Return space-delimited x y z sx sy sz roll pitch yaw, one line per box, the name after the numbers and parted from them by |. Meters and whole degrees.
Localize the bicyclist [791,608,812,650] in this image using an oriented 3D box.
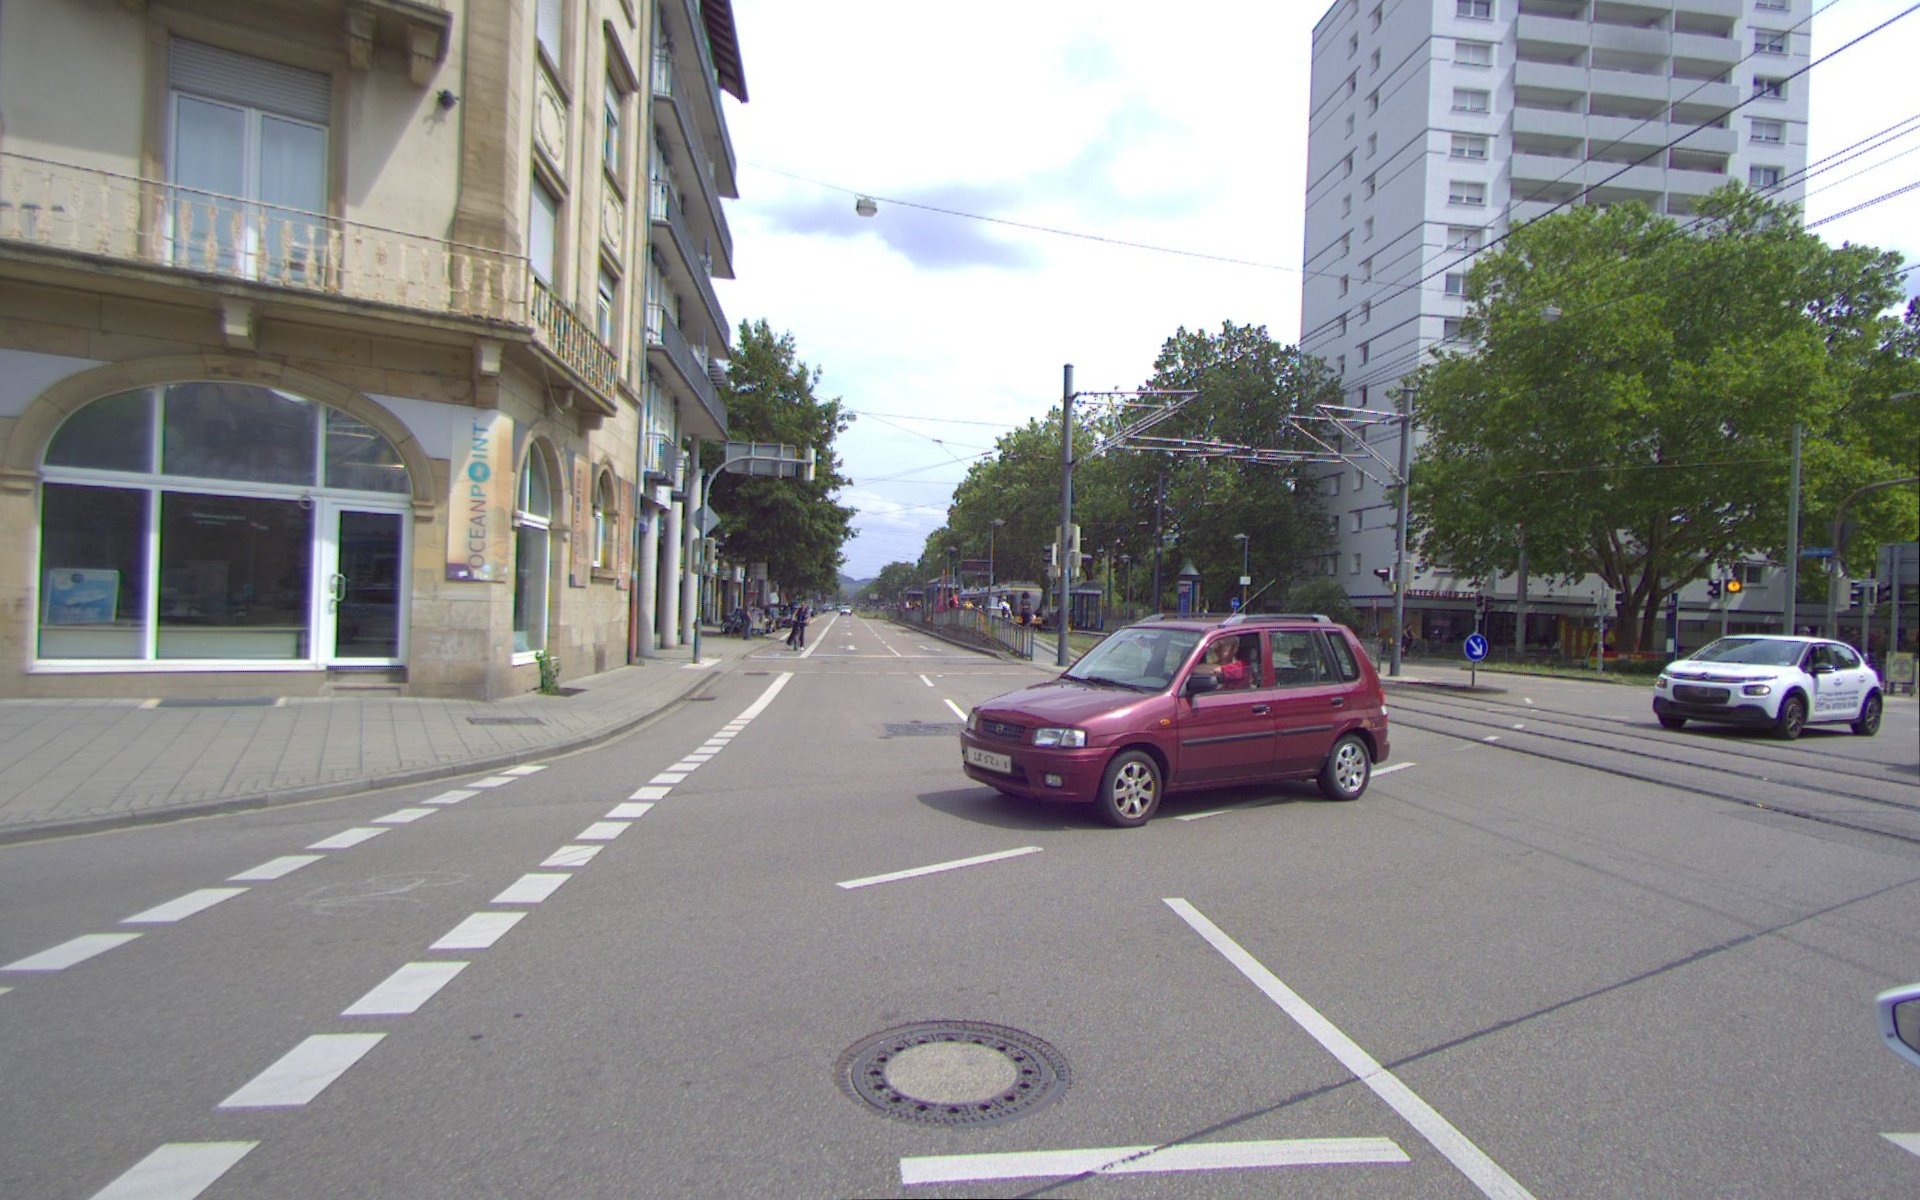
-5.567 1.009 35.270 0.629 1.463 0.999 2 0 -7 | bicyclist

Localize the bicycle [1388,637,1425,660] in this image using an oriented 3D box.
22.052 2.389 49.653 0.616 1.108 1.967 2 -2 -12 | bicycle

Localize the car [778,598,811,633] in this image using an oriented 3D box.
-10.480 0.953 63.673 1.964 2.040 3.993 2 0 -9 | car

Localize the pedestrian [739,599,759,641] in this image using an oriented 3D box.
-8.762 0.830 41.674 0.514 1.745 0.560 2 0 37 | pedestrian

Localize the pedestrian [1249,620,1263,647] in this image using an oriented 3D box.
18.893 2.131 64.135 0.684 1.645 0.505 2 0 -10 | pedestrian

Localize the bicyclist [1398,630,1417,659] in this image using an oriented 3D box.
22.058 2.187 49.522 0.483 1.360 0.751 2 -1 -13 | bicyclist

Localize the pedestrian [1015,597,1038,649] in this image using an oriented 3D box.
2.665 0.898 40.118 0.746 2.040 0.757 2 0 -6 | pedestrian

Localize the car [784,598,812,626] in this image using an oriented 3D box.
-12.339 0.911 76.578 1.964 2.040 3.993 2 0 -9 | car

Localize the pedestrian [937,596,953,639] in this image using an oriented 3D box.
-0.801 0.954 54.215 0.746 2.280 0.757 2 0 -6 | pedestrian

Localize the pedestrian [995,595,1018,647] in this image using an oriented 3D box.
1.835 0.822 39.687 0.746 2.040 0.757 2 0 -6 | pedestrian

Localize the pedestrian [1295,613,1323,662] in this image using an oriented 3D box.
11.374 1.219 32.760 0.657 1.572 0.598 2 0 -5 | pedestrian

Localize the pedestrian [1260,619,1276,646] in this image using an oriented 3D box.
19.475 2.068 63.456 0.684 1.657 0.683 2 0 -10 | pedestrian

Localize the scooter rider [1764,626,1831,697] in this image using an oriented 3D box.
17.375 1.266 20.842 1.075 1.394 0.735 2 0 -31 | scooter rider

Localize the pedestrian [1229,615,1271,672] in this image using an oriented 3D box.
8.346 1.246 28.918 0.852 1.572 0.838 2 0 -8 | pedestrian

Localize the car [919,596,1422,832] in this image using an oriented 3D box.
1.814 0.832 8.367 3.953 1.544 1.755 2 -2 -30 | car

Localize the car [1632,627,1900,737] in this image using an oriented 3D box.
12.487 1.209 15.522 4.189 1.450 1.727 2 0 -29 | car

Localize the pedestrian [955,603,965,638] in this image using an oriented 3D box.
0.001 1.187 58.915 0.492 2.040 0.369 2 0 -8 | pedestrian

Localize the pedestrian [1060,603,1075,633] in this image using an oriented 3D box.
7.515 1.252 70.392 0.837 2.040 0.872 2 0 -8 | pedestrian

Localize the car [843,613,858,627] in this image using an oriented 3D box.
-17.043 3.138 156.389 1.964 2.040 3.993 2 0 -9 | car

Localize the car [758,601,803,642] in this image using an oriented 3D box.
-9.419 1.107 52.912 1.962 2.040 3.996 2 0 -6 | car

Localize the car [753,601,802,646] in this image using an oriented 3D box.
-8.801 1.105 48.656 1.962 2.040 3.996 2 0 -6 | car

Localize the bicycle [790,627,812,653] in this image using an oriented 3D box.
-5.589 1.404 35.362 0.640 0.827 1.789 2 -1 -6 | bicycle

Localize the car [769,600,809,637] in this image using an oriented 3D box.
-9.826 1.049 58.006 1.962 2.040 3.996 2 0 -6 | car

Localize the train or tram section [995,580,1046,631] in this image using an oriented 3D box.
4.215 0.493 71.389 2.322 3.358 7.511 2 -2 -6 | train or tram section

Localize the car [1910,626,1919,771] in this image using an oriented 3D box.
12.701 1.146 11.324 4.794 1.544 1.753 2 -1 -32 | car

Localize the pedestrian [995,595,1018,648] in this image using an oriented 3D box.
1.813 0.824 39.525 0.746 2.040 0.757 2 0 -6 | pedestrian

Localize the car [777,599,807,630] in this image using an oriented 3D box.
-11.581 0.962 69.237 1.964 2.040 3.993 2 0 -9 | car
